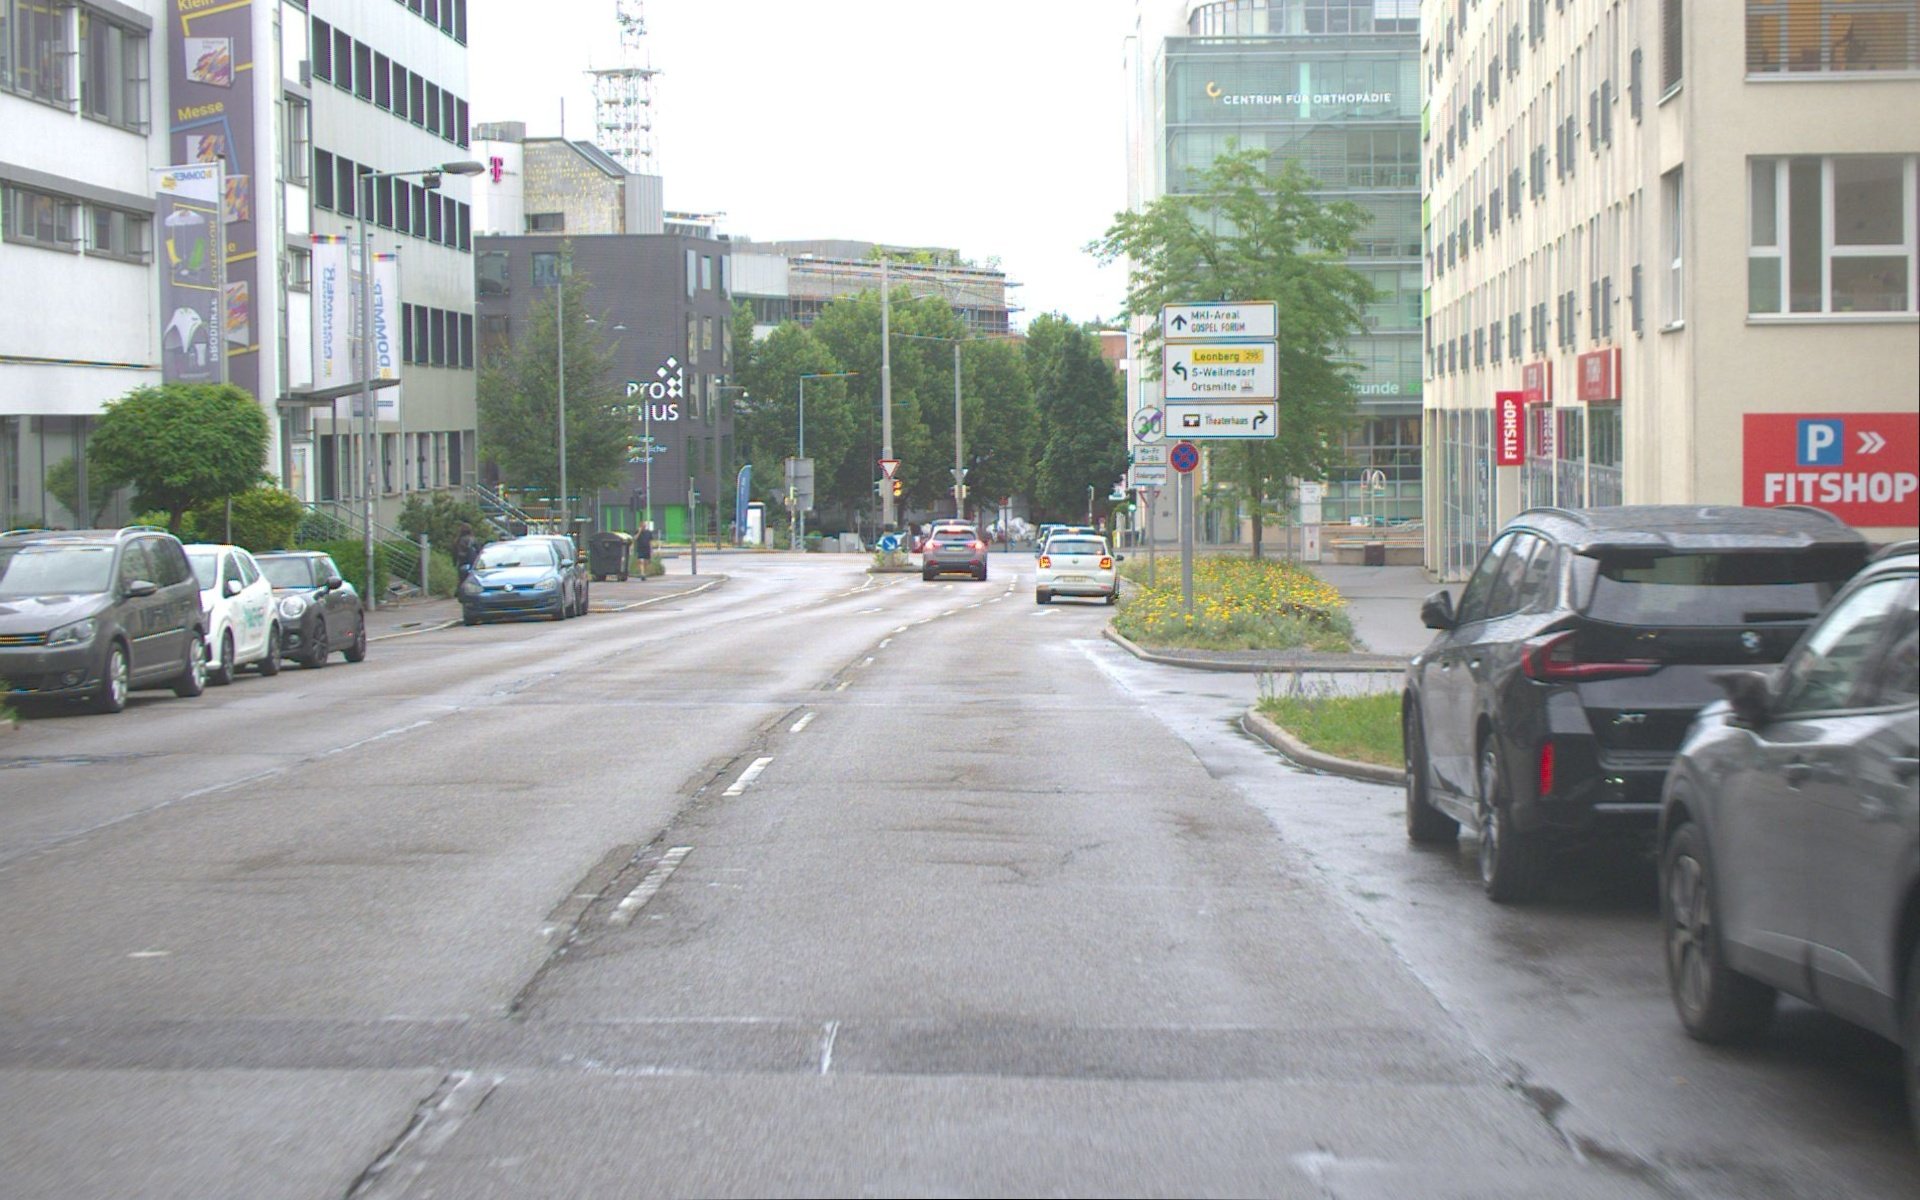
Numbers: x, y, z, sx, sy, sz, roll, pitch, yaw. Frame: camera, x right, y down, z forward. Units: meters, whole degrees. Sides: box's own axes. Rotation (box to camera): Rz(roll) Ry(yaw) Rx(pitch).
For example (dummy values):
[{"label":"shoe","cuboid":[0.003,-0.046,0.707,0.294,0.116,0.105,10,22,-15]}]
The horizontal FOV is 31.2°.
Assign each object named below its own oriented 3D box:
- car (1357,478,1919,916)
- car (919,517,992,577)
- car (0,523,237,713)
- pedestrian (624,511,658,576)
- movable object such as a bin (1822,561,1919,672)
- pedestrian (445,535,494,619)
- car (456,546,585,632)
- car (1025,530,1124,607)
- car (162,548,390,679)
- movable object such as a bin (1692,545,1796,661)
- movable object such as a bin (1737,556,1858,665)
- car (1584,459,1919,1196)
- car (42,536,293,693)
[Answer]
[{"label":"car","cuboid":[2.972,0.315,15.549,1.807,1.673,4.712,0,1,0]},{"label":"car","cuboid":[-0.110,-1.574,102.661,2.141,1.722,4.000,0,0,1]},{"label":"car","cuboid":[-8.222,0.117,31.869,2.077,1.603,4.686,-1,1,-1]},{"label":"pedestrian","cuboid":[-9.613,-1.705,103.641,0.959,1.948,0.779,0,0,-11]},{"label":"movable object such as a bin","cuboid":[11.719,0.201,43.731,1.261,1.398,1.112,0,1,3]},{"label":"pedestrian","cuboid":[-10.040,-0.463,70.374,0.728,1.703,0.903,-1,-1,-26]},{"label":"car","cuboid":[-7.810,-0.187,61.448,1.913,1.476,4.357,0,0,-2]},{"label":"car","cuboid":[2.389,-0.686,72.476,1.993,1.571,3.996,0,1,1]},{"label":"car","cuboid":[-8.255,0.151,41.852,1.797,1.511,4.245,0,0,2]},{"label":"movable object such as a bin","cuboid":[10.280,0.035,45.097,1.174,1.498,1.013,0,1,3]},{"label":"movable object such as a bin","cuboid":[10.409,0.128,42.775,1.235,1.315,1.191,-1,0,3]},{"label":"car","cuboid":[2.965,0.493,9.344,1.748,1.600,4.373,0,0,0]},{"label":"car","cuboid":[-8.482,0.111,37.124,1.773,1.595,4.032,0,1,0]}]
